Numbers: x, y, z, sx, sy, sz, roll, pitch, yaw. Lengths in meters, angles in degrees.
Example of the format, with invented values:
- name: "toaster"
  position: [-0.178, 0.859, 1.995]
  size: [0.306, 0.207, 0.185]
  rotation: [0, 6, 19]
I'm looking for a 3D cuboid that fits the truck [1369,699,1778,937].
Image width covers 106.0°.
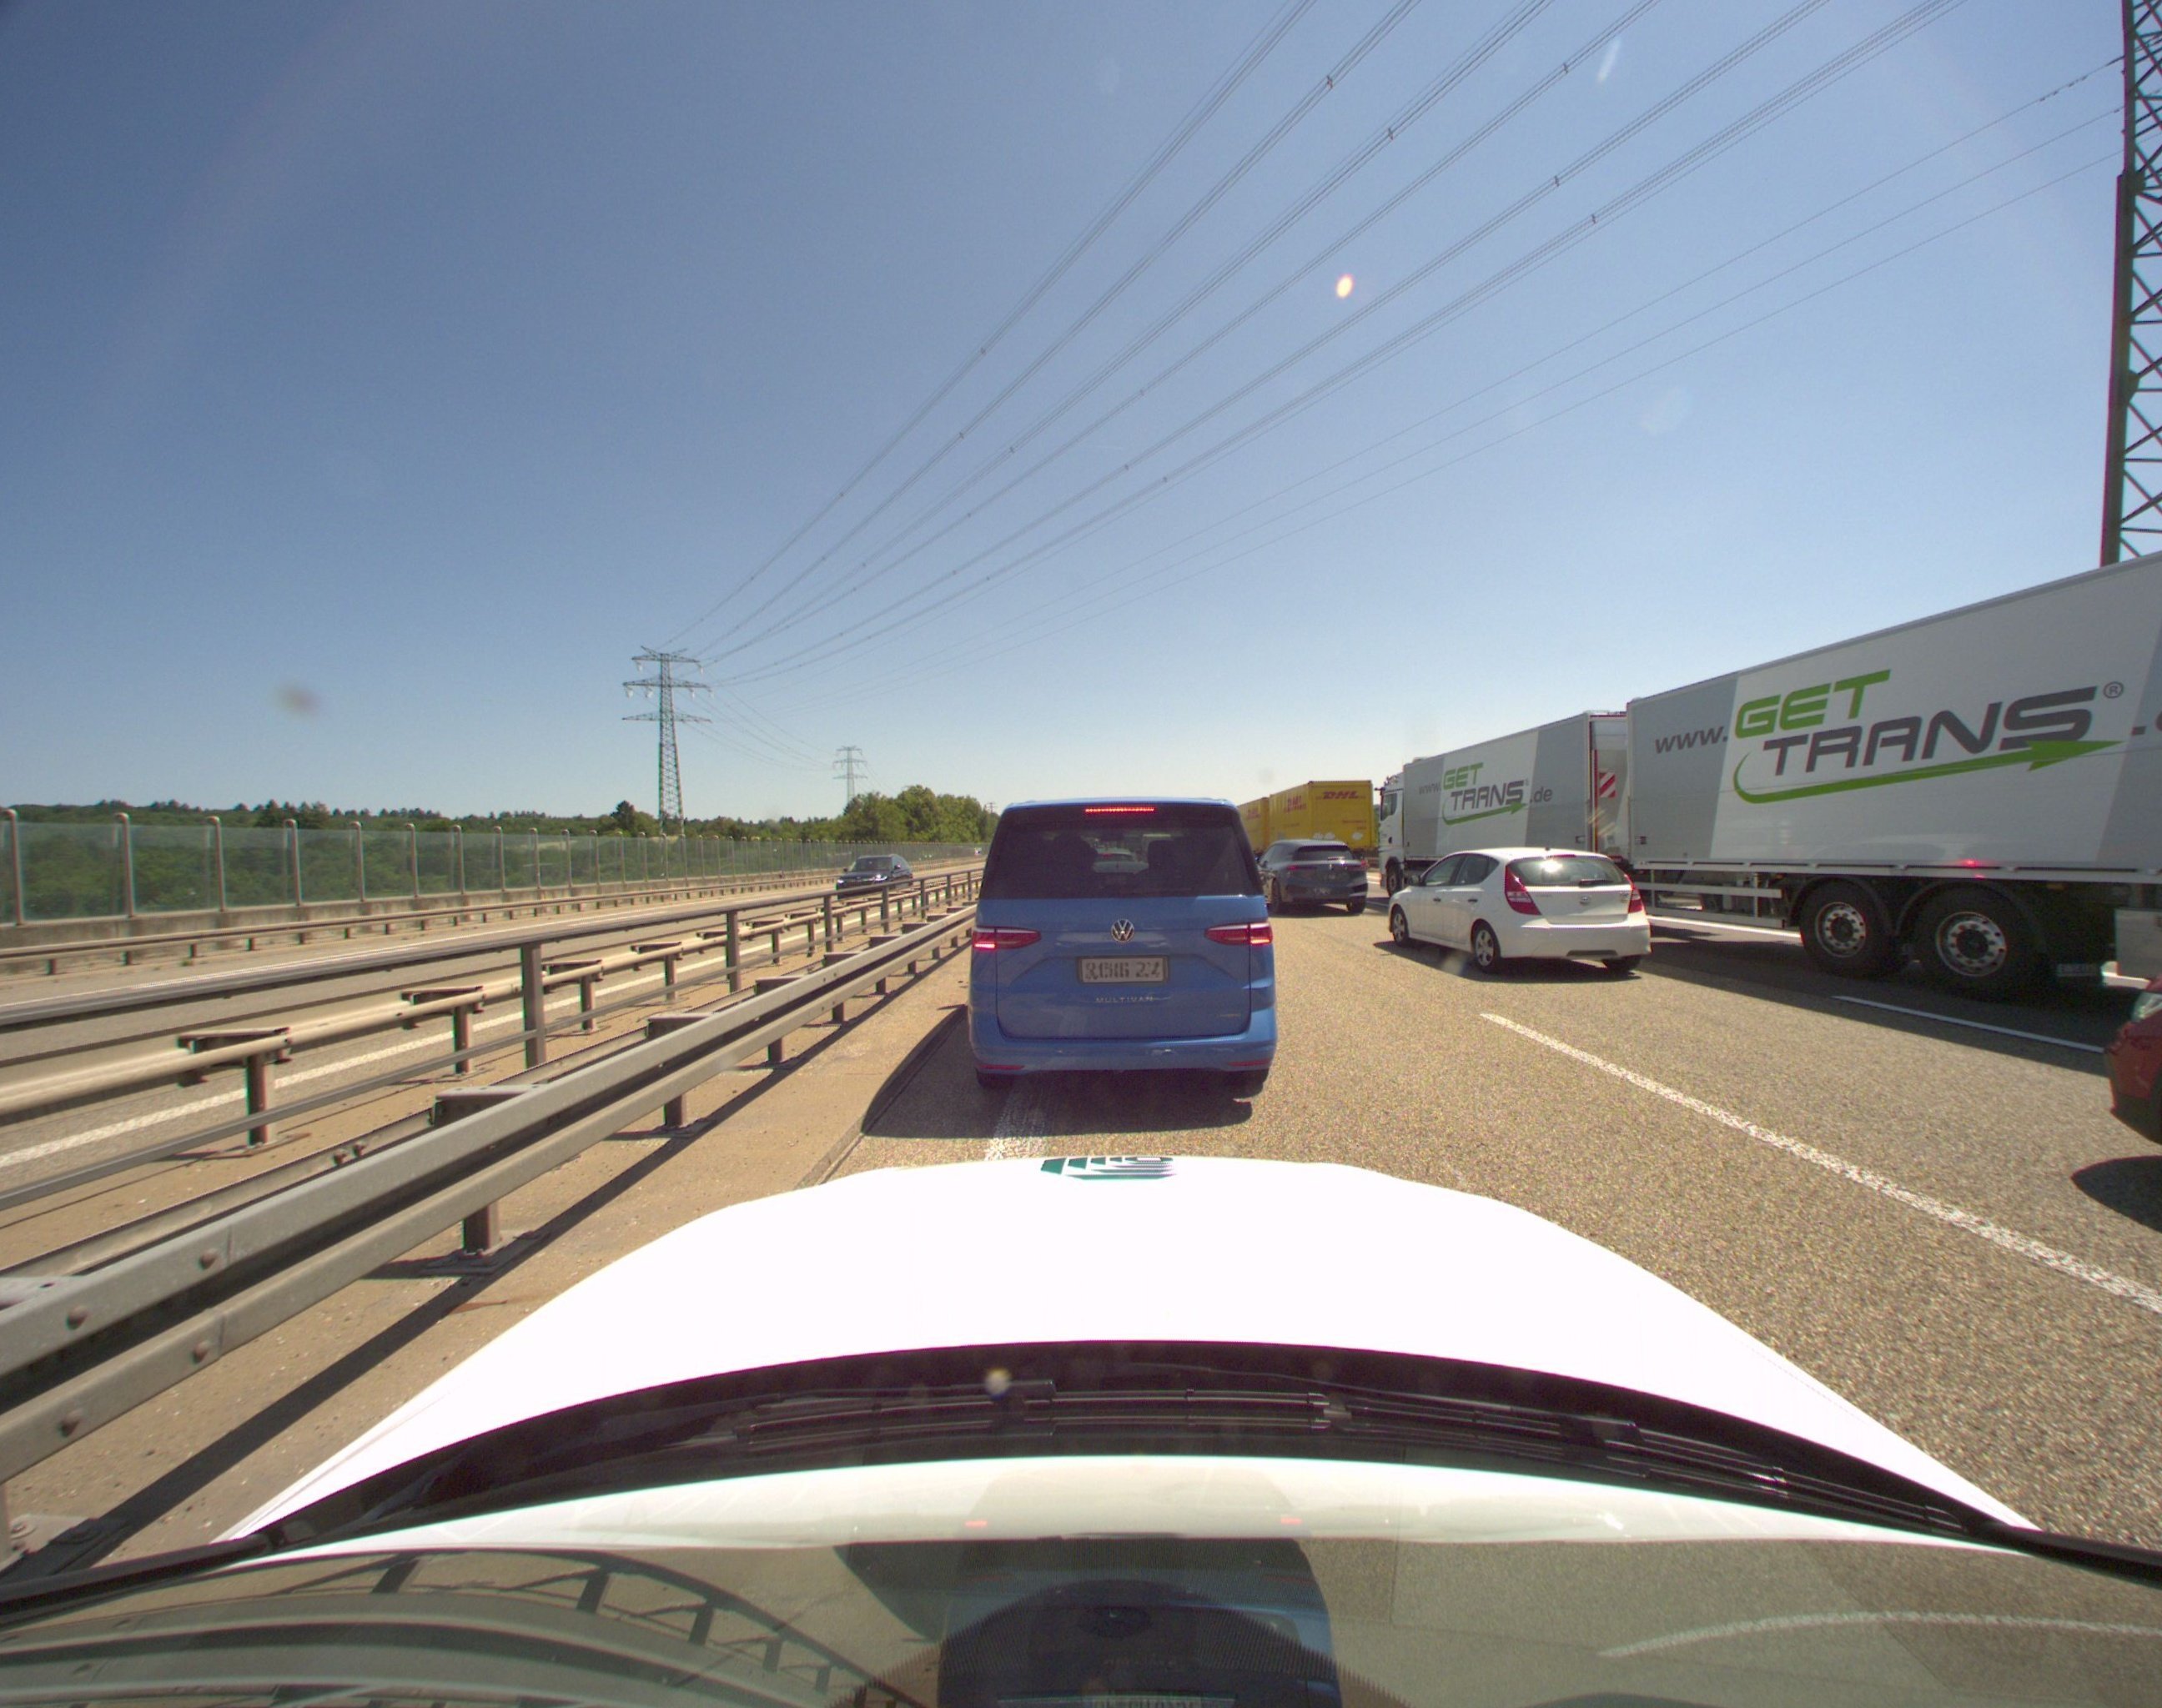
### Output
- name: "truck"
  position: [9.606, -0.582, 18.169]
  size: [2.647, 3.648, 11.014]
  rotation: [-1, 0, 1]

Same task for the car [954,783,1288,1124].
- name: "car"
  position: [0.286, 0.547, 6.496]
  size: [1.813, 1.857, 4.076]
  rotation: [0, 0, 2]

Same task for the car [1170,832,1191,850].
- name: "car"
  position: [11.619, -1.492, 95.633]
  size: [1.986, 2.013, 4.463]
  rotation: [-2, 0, 2]

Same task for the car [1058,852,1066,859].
- name: "car"
  position: [-4.224, 0.297, 181.531]
  size: [1.613, 1.464, 3.703]
  rotation: [-3, 0, 2]

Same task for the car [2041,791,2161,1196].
- name: "car"
  position: [5.265, 0.560, 1.627]
  size: [1.768, 1.662, 4.225]
  rotation: [-1, 0, 1]

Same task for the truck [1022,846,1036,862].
- name: "truck"
  position: [-11.570, -0.106, 182.393]
  size: [2.488, 3.365, 5.836]
  rotation: [-4, 0, 2]

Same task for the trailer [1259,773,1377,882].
- name: "trailer"
  position: [10.228, -1.012, 36.263]
  size: [2.854, 4.239, 9.015]
  rotation: [0, 0, 2]

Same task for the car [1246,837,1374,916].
- name: "car"
  position: [5.327, 0.472, 19.532]
  size: [1.954, 1.644, 4.295]
  rotation: [-1, 0, 2]

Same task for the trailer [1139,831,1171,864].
- name: "trailer"
  position: [7.071, -0.572, 79.350]
  size: [2.559, 2.990, 10.668]
  rotation: [0, 0, 2]

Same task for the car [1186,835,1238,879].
- name: "car"
  position: [6.413, 0.123, 40.245]
  size: [1.954, 1.993, 4.295]
  rotation: [-1, 0, 2]

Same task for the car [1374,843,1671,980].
- name: "car"
  position: [5.577, 0.623, 11.010]
  size: [1.782, 1.455, 4.295]
  rotation: [-1, 0, 2]

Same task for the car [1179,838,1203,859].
- name: "car"
  position: [10.994, -0.540, 81.701]
  size: [1.986, 2.014, 4.002]
  rotation: [0, 0, 2]

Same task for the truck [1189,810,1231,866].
- name: "truck"
  position: [10.817, -1.307, 68.861]
  size: [2.657, 4.484, 6.853]
  rotation: [0, 0, 2]

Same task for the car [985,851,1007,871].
- name: "car"
  position: [-10.317, 0.780, 98.851]
  size: [1.986, 2.215, 4.269]
  rotation: [-4, 0, 1]

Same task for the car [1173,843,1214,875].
- name: "car"
  position: [6.691, 0.270, 48.809]
  size: [1.986, 1.816, 4.002]
  rotation: [-1, 0, 2]

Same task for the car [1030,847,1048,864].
- name: "car"
  position: [-5.594, 0.178, 109.199]
  size: [1.856, 2.131, 4.271]
  rotation: [-4, 0, 2]

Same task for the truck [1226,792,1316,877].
- name: "truck"
  position: [10.492, -0.992, 46.285]
  size: [2.826, 4.243, 11.014]
  rotation: [0, 0, 1]

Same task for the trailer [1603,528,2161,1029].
- name: "trailer"
  position: [9.396, -0.590, 8.630]
  size: [2.688, 3.700, 8.017]
  rotation: [-1, 0, 1]

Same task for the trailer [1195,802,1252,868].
- name: "trailer"
  position: [10.569, -1.330, 61.369]
  size: [2.627, 4.516, 11.306]
  rotation: [0, 0, 2]

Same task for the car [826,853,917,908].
- name: "car"
  position: [-7.361, 0.873, 29.085]
  size: [1.860, 1.699, 4.432]
  rotation: [-4, 0, 1]
